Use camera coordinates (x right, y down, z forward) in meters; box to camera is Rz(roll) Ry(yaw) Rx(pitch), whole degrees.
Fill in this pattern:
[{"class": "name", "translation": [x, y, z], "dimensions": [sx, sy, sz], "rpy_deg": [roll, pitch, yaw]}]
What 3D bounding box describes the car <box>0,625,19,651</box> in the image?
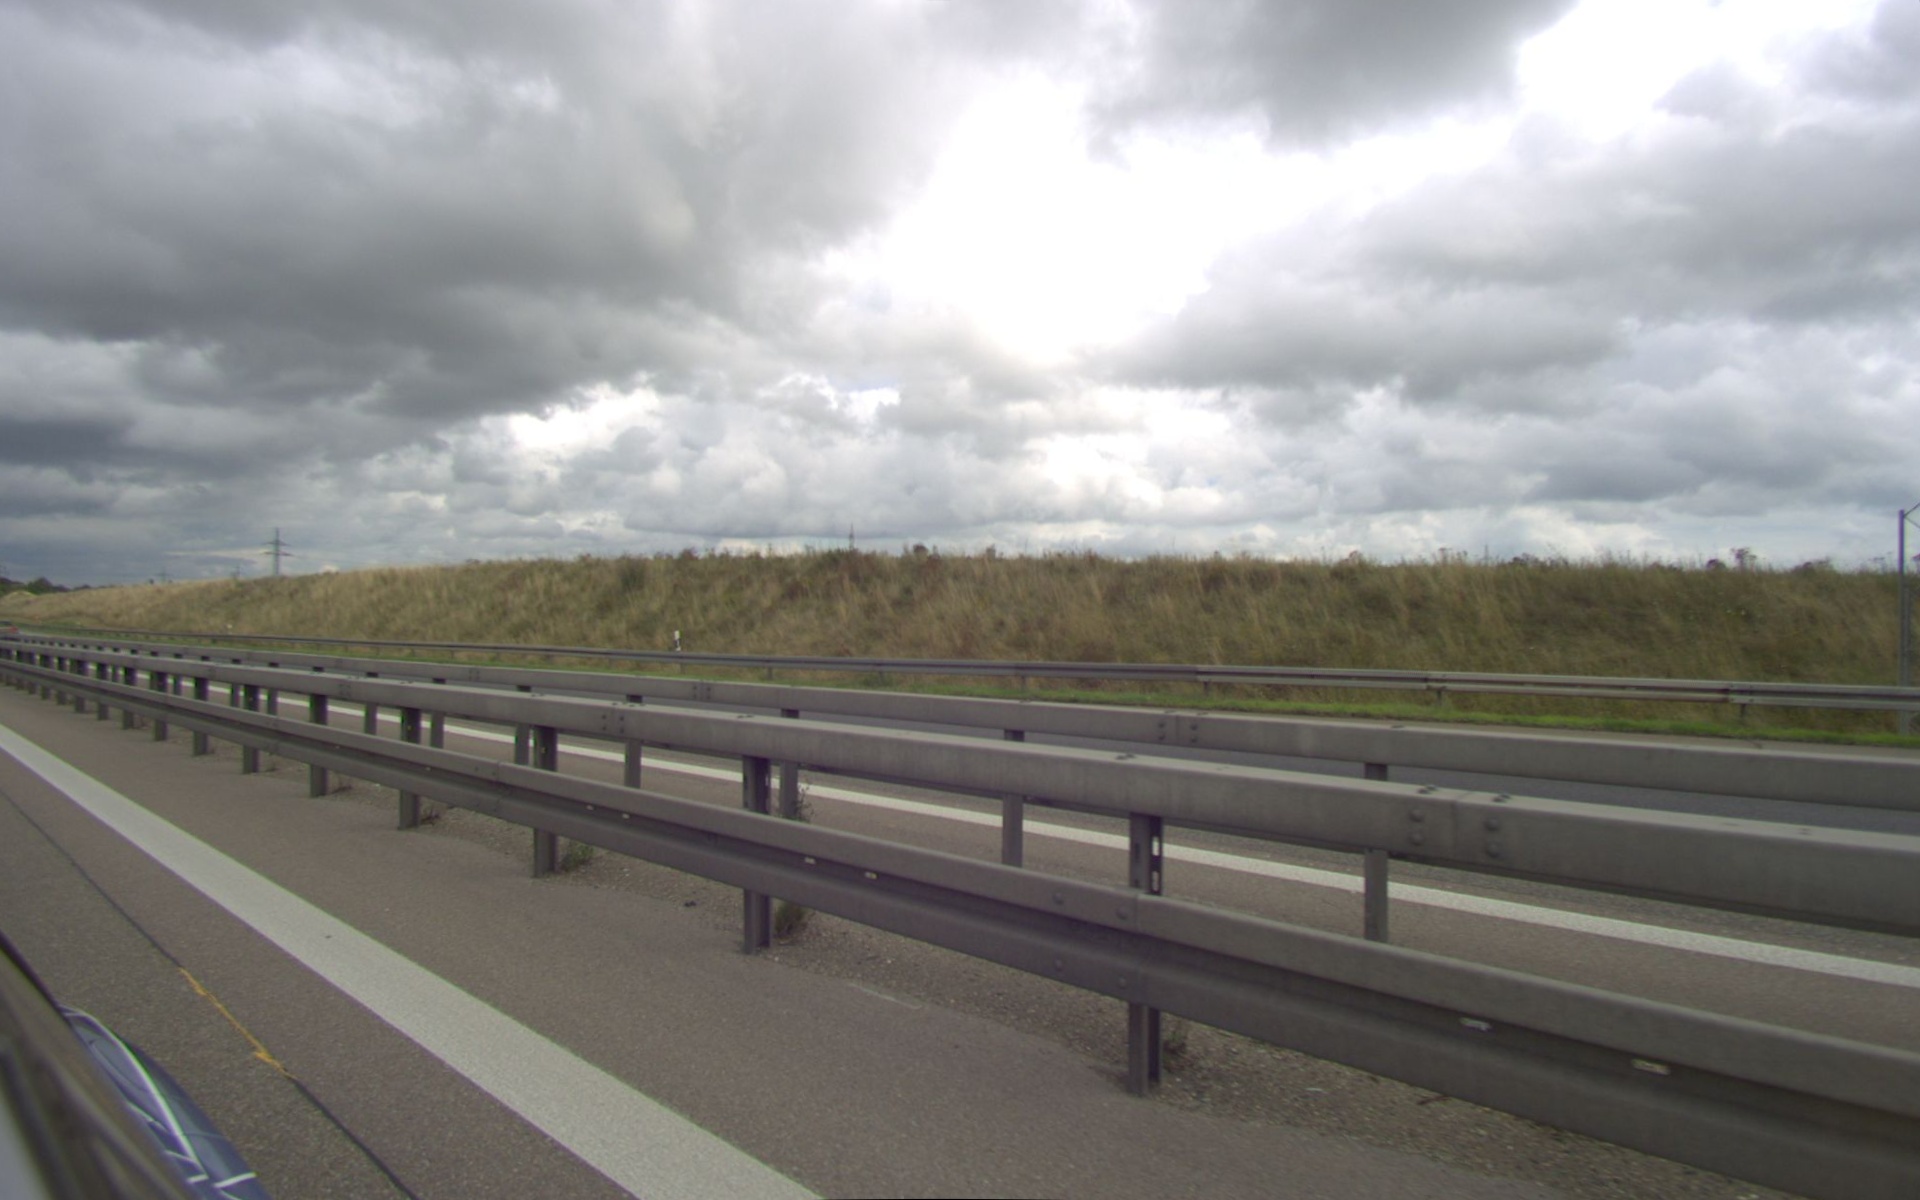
[{"class": "car", "translation": [-63.306, 2.478, 66.377], "dimensions": [4.728, 1.524, 1.886], "rpy_deg": [0, -1, 42]}]
